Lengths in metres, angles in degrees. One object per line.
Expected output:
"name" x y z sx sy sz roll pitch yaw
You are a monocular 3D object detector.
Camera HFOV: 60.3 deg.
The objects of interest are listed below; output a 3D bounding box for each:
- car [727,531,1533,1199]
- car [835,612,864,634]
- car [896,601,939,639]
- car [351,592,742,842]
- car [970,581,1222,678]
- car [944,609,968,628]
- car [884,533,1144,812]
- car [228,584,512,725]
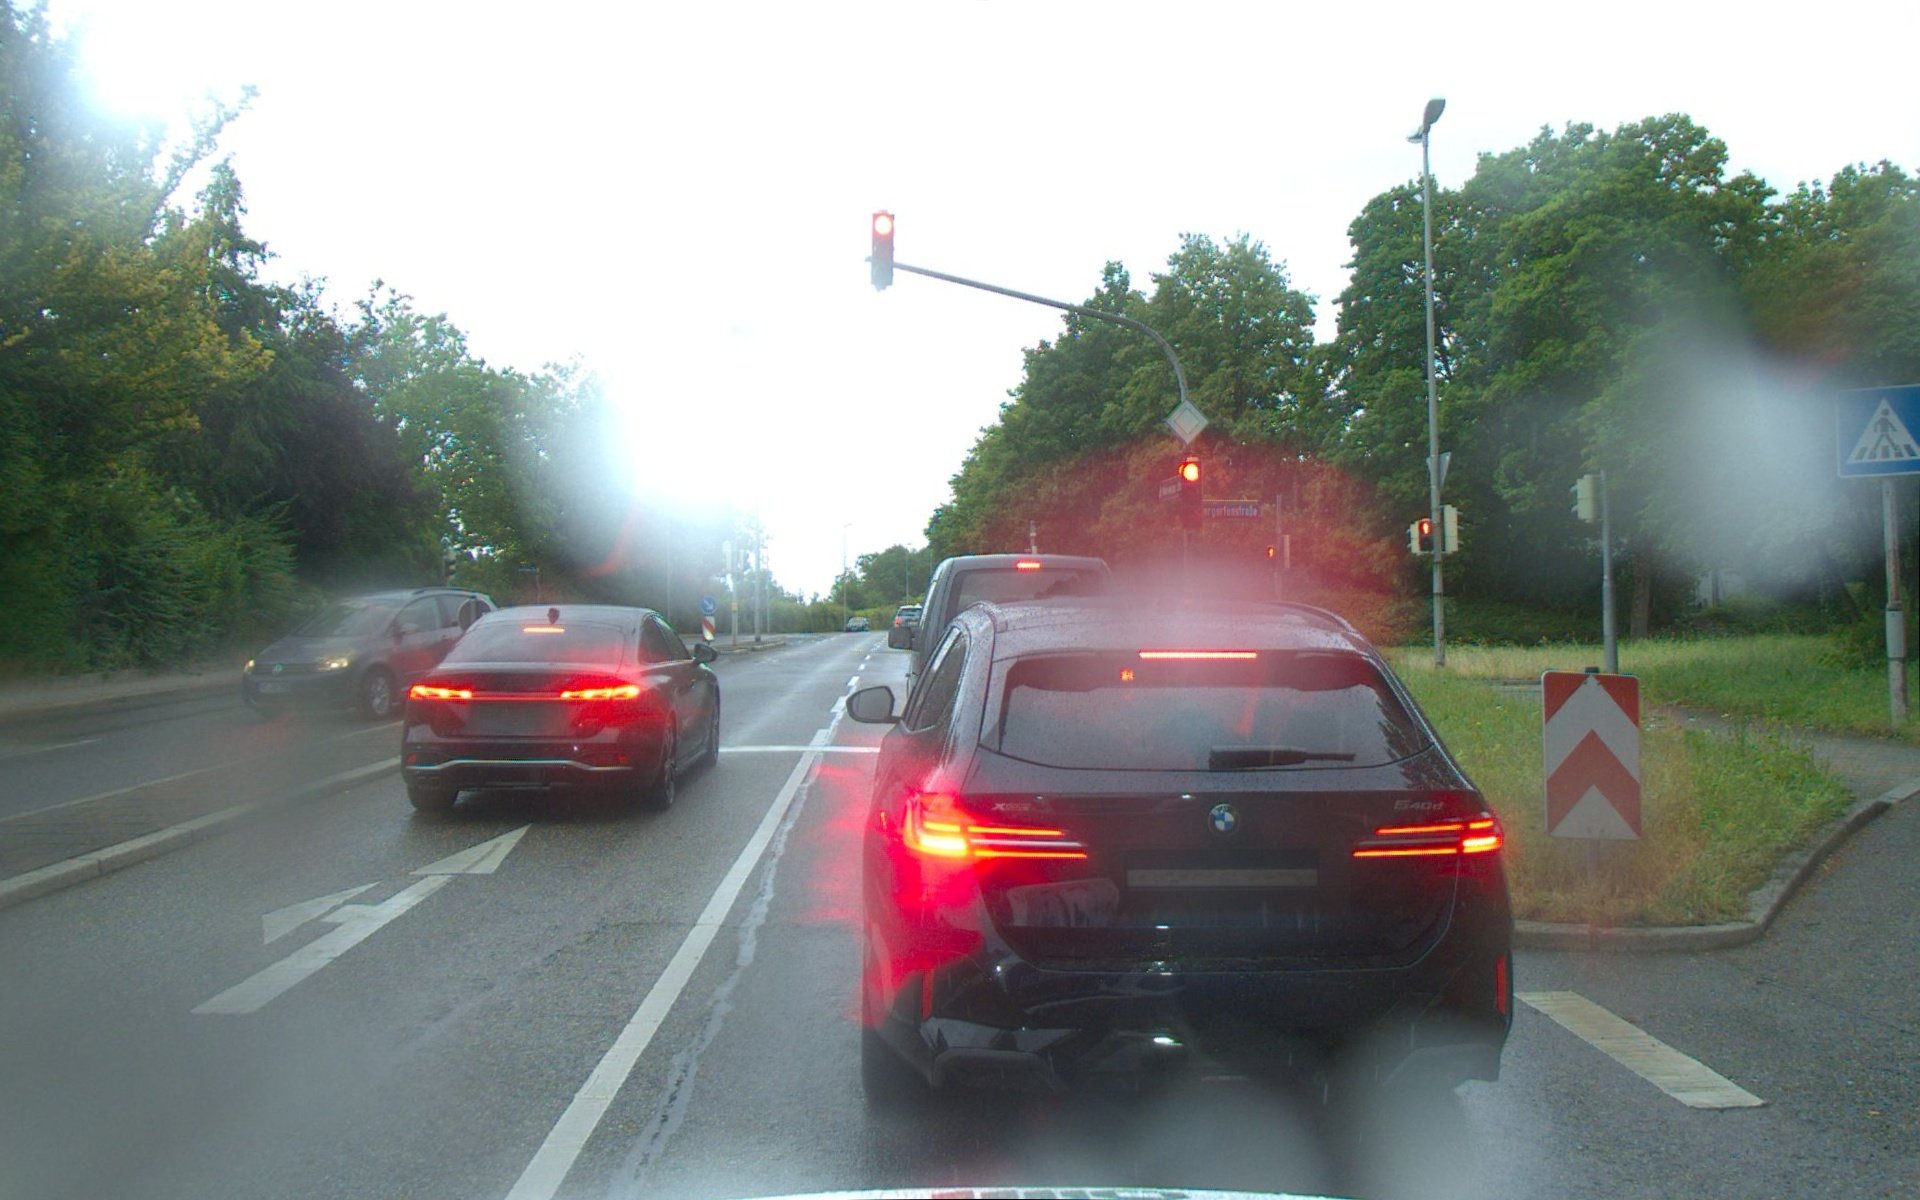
"car" 0.500 0.674 6.158 1.858 1.578 4.616 1 -1 3
"car" -10.252 2.125 153.678 1.951 1.858 4.002 -2 -1 6
"car" -1.744 0.806 67.284 1.663 1.452 3.512 -2 0 -2
"car" -2.991 0.780 12.984 1.953 1.554 4.327 -2 0 0
"car" 2.716 0.560 33.141 4.633 1.747 1.988 -2 0 -21
"car" -0.352 1.732 153.888 1.952 1.652 3.954 -2 0 4
"car" 0.363 0.512 13.337 1.781 1.901 3.952 0 0 0
"car" -7.585 0.641 21.707 1.705 1.630 4.035 -2 0 10
